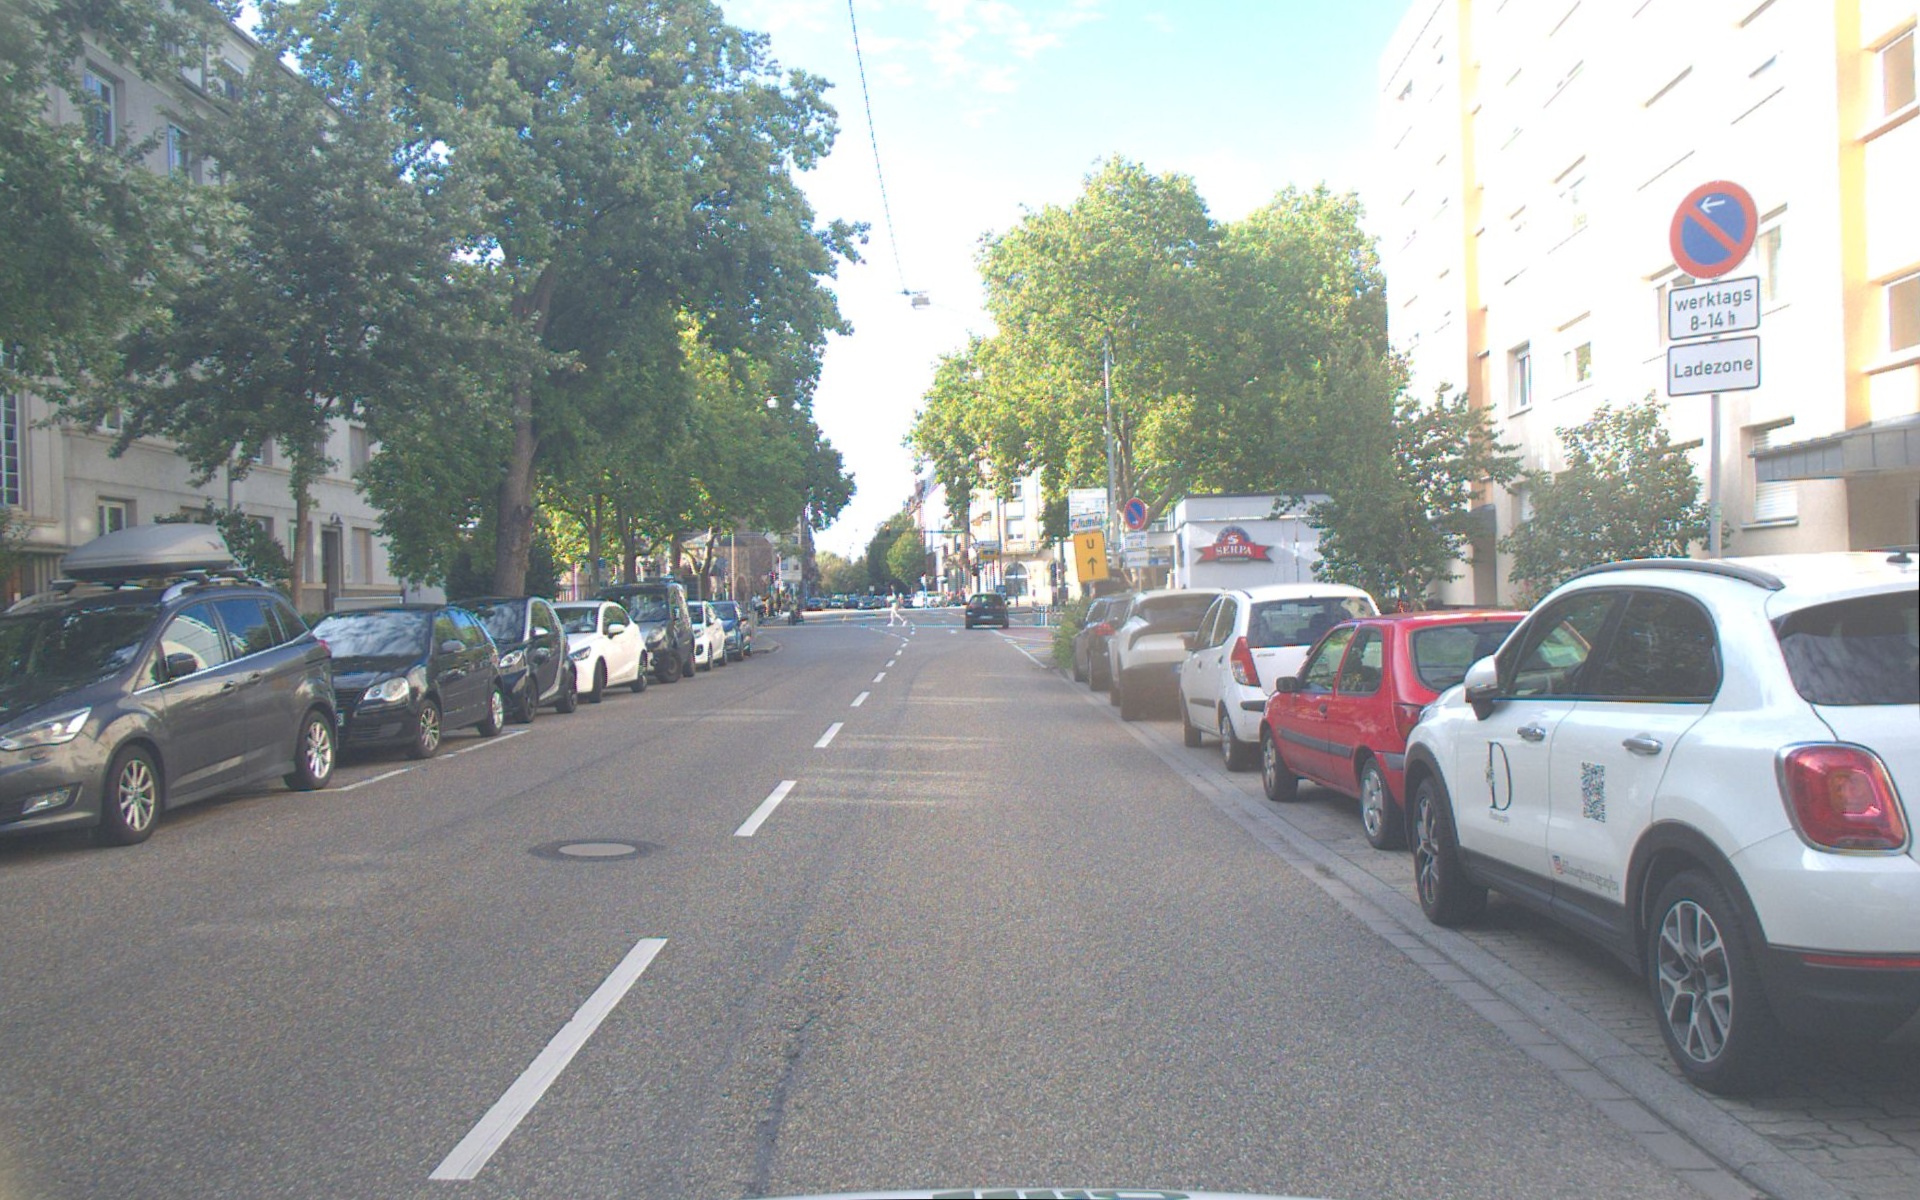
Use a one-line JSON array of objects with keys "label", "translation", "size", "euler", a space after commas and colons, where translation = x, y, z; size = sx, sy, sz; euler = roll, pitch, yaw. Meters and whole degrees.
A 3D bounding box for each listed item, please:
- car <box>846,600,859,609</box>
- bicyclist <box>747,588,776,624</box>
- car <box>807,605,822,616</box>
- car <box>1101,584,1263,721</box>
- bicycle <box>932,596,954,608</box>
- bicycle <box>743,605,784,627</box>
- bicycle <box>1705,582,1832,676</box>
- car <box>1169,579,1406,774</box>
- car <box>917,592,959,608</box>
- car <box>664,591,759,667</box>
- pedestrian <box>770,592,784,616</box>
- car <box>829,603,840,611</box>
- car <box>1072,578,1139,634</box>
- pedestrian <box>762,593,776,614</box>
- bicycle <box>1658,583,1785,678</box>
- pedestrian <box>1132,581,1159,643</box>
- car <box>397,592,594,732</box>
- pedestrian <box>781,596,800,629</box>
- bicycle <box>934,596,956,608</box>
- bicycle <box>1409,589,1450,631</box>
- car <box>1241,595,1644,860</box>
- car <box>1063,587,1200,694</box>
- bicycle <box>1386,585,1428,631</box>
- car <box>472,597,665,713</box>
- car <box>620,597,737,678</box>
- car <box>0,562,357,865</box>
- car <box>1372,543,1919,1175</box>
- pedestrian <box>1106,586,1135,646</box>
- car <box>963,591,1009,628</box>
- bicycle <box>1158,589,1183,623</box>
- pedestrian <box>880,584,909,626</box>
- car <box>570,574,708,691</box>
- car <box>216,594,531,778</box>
[{"label": "car", "translation": [-15.969, 0.621, 244.982], "size": [1.742, 1.251, 3.587], "euler": [-1, 0, -1]}, {"label": "bicyclist", "translation": [-9.432, 0.286, 78.447], "size": [0.801, 1.721, 1.105], "euler": [-1, 0, 45]}, {"label": "car", "translation": [-17.080, 1.249, 194.438], "size": [1.519, 1.251, 3.587], "euler": [-1, 0, -1]}, {"label": "car", "translation": [2.771, 0.603, 21.437], "size": [1.655, 1.555, 4.239], "euler": [-2, 0, 2]}, {"label": "bicycle", "translation": [-1.634, 0.222, 160.329], "size": [1.988, 1.101, 0.628], "euler": [-2, 0, -14]}, {"label": "bicycle", "translation": [-9.333, 0.774, 78.489], "size": [0.750, 1.011, 1.913], "euler": [-1, 0, 44]}, {"label": "bicycle", "translation": [10.453, 0.347, 21.467], "size": [0.518, 1.134, 2.209], "euler": [-2, 0, 0]}, {"label": "car", "translation": [2.945, 0.625, 15.496], "size": [1.519, 1.584, 3.468], "euler": [-2, 0, 0]}, {"label": "car", "translation": [-2.201, -0.005, 162.040], "size": [3.912, 1.445, 1.997], "euler": [-2, 0, -8]}, {"label": "car", "translation": [-6.022, 0.669, 40.519], "size": [1.763, 1.648, 3.801], "euler": [-4, 0, -2]}, {"label": "pedestrian", "translation": [-13.320, 0.303, 120.460], "size": [0.764, 1.691, 0.779], "euler": [-2, 0, 19]}, {"label": "car", "translation": [-19.104, 1.096, 252.026], "size": [1.519, 1.251, 3.587], "euler": [-1, 0, -1]}, {"label": "car", "translation": [4.171, 0.157, 47.778], "size": [1.724, 1.436, 4.235], "euler": [-3, 0, 3]}, {"label": "pedestrian", "translation": [-13.720, 0.263, 118.884], "size": [0.765, 1.457, 0.730], "euler": [-1, 0, 24]}, {"label": "bicycle", "translation": [9.845, 0.370, 21.470], "size": [0.585, 1.134, 2.209], "euler": [-3, 0, 0]}, {"label": "pedestrian", "translation": [5.057, 0.329, 45.137], "size": [0.639, 1.674, 0.743], "euler": [-1, 0, -1]}, {"label": "car", "translation": [-5.827, 0.727, 21.067], "size": [1.521, 1.546, 3.016], "euler": [-4, 0, 1]}, {"label": "pedestrian", "translation": [-8.737, 0.635, 85.257], "size": [0.797, 1.683, 1.076], "euler": [-1, 0, 0]}, {"label": "bicycle", "translation": [-1.438, 0.209, 159.737], "size": [1.988, 1.101, 0.618], "euler": [-2, 0, -14]}, {"label": "bicycle", "translation": [11.296, 0.240, 39.858], "size": [0.468, 0.980, 1.552], "euler": [-1, 0, -3]}, {"label": "car", "translation": [3.038, 0.718, 11.167], "size": [1.485, 1.422, 3.675], "euler": [-3, 0, -2]}, {"label": "car", "translation": [2.719, 0.597, 27.088], "size": [1.656, 1.555, 4.236], "euler": [-2, 0, -2]}, {"label": "bicycle", "translation": [10.753, 0.192, 39.845], "size": [0.511, 1.074, 1.552], "euler": [-1, 0, -3]}, {"label": "car", "translation": [-5.900, 0.767, 25.455], "size": [1.659, 1.519, 4.334], "euler": [-3, 0, 3]}, {"label": "car", "translation": [-6.051, 0.771, 35.943], "size": [1.762, 1.519, 3.803], "euler": [-4, 0, 1]}, {"label": "car", "translation": [-5.999, 0.676, 11.595], "size": [1.762, 1.697, 4.483], "euler": [-4, 0, 1]}, {"label": "car", "translation": [3.028, 0.631, 6.328], "size": [1.694, 1.608, 4.115], "euler": [-3, 0, -2]}, {"label": "pedestrian", "translation": [4.331, 0.421, 44.624], "size": [0.639, 1.565, 0.743], "euler": [-3, 0, -1]}, {"label": "car", "translation": [1.029, 0.373, 67.116], "size": [1.716, 1.438, 3.999], "euler": [-1, 0, -1]}, {"label": "bicycle", "translation": [8.024, 0.224, 63.142], "size": [0.753, 1.227, 1.816], "euler": [-3, 0, 3]}, {"label": "pedestrian", "translation": [-2.849, 0.214, 71.669], "size": [1.057, 1.784, 0.915], "euler": [0, 0, -17]}, {"label": "car", "translation": [-5.851, 0.547, 30.626], "size": [1.688, 1.915, 4.191], "euler": [-3, 0, -1]}, {"label": "car", "translation": [-5.711, 0.761, 16.626], "size": [1.665, 1.512, 3.848], "euler": [-4, 0, 1]}]
